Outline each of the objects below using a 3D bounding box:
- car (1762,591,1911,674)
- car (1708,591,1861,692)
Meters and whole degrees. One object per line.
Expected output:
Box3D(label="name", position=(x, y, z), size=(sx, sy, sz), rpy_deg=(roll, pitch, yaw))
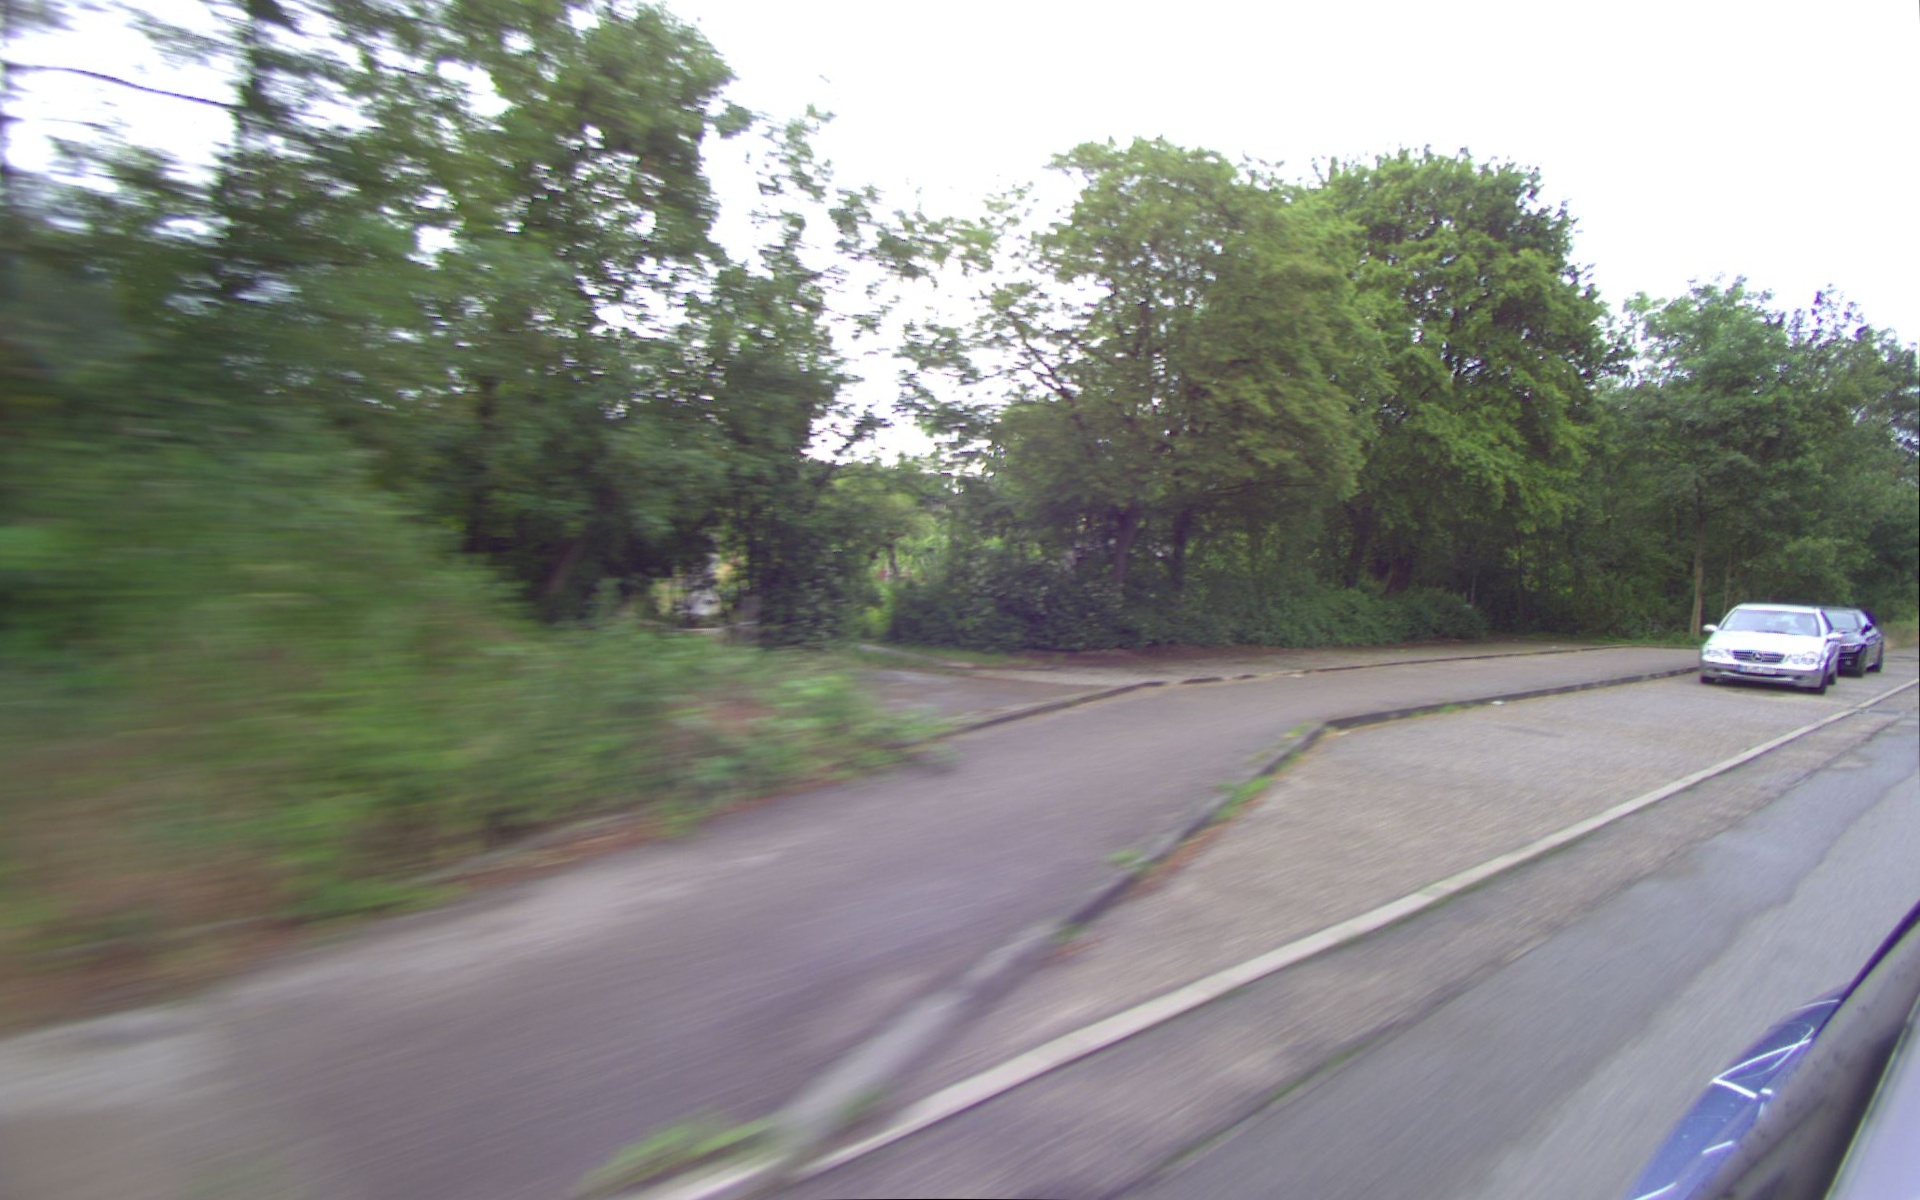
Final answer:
Box3D(label="car", position=(19.287, 0.624, 22.193), size=(4.587, 1.528, 1.810), rpy_deg=(0, 4, -42))
Box3D(label="car", position=(14.888, 0.643, 18.194), size=(1.745, 1.486, 4.154), rpy_deg=(5, 4, 44))
